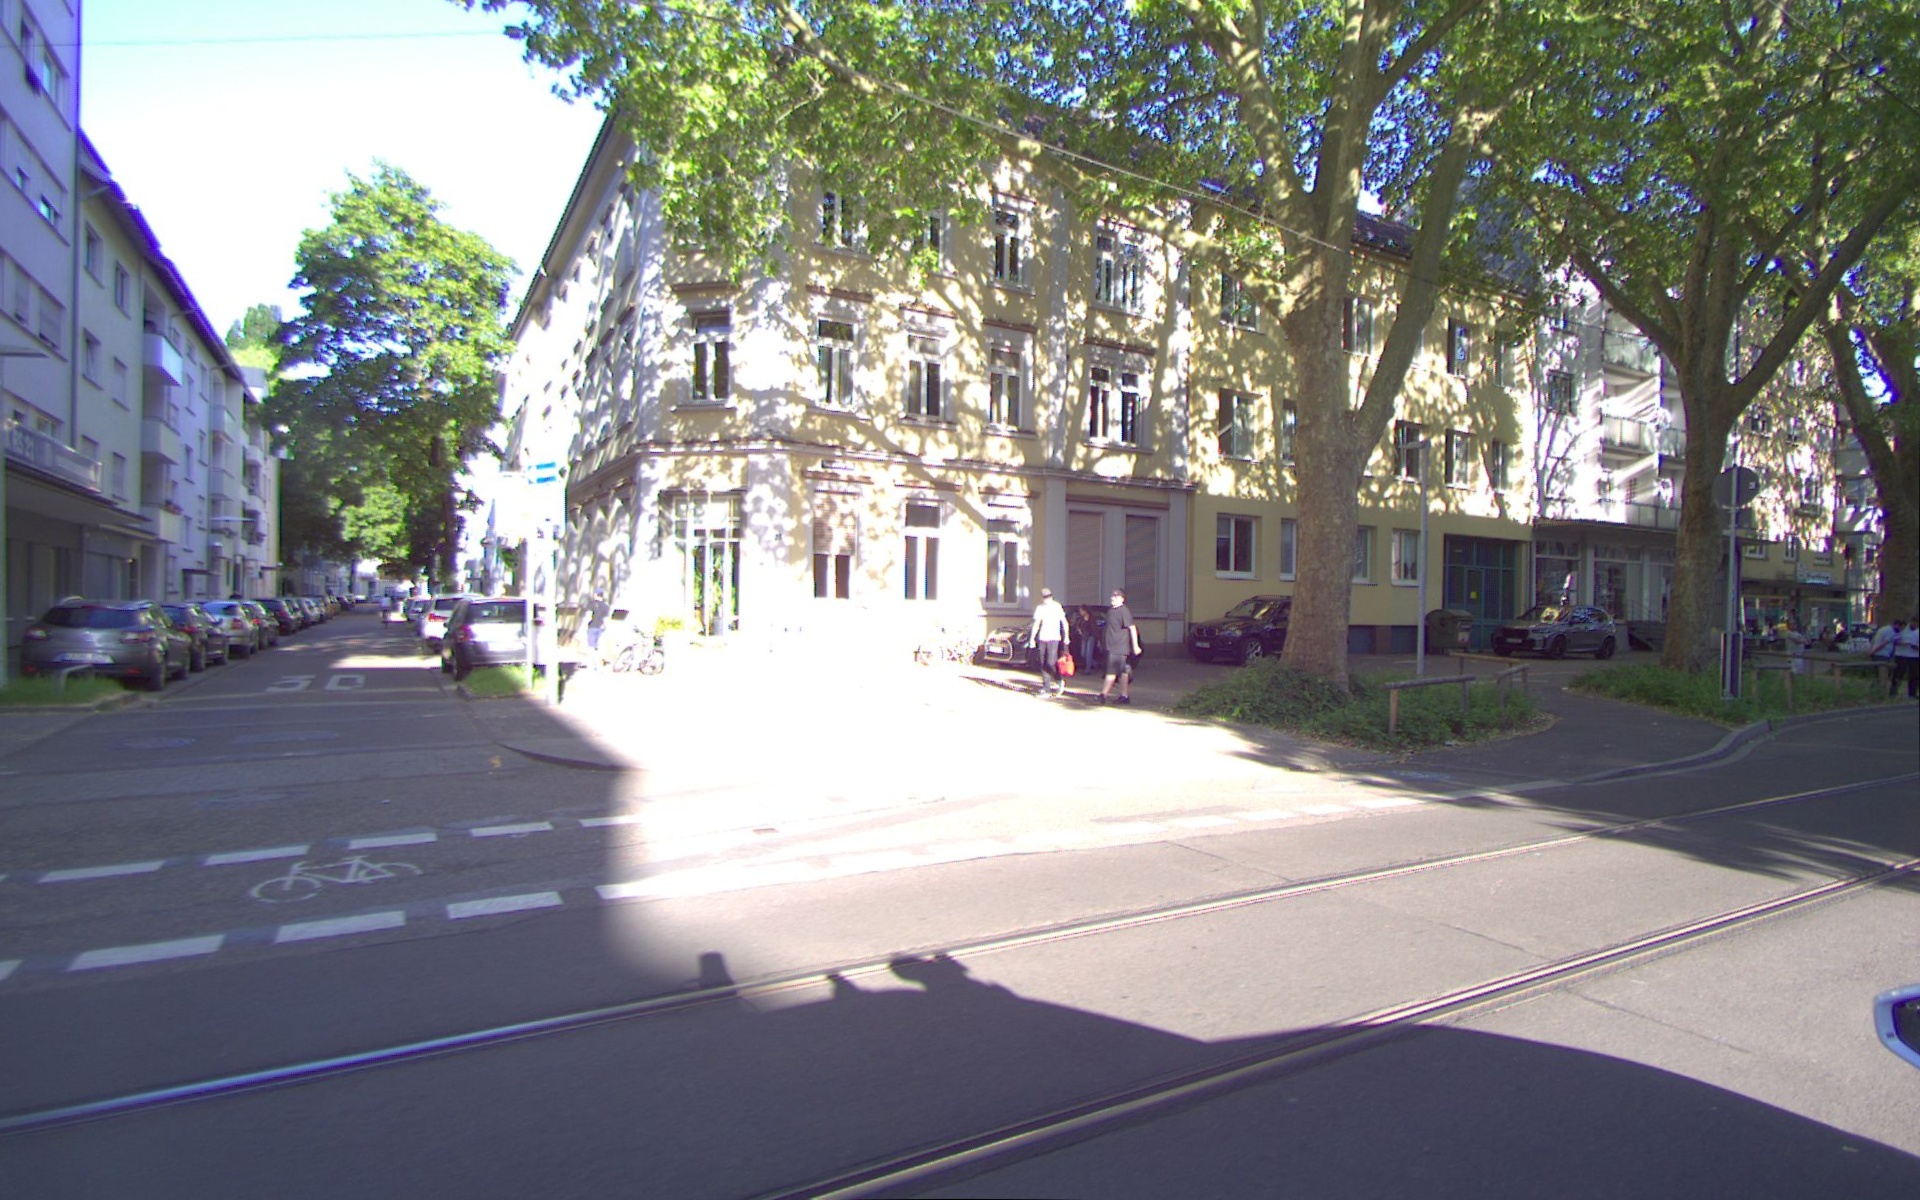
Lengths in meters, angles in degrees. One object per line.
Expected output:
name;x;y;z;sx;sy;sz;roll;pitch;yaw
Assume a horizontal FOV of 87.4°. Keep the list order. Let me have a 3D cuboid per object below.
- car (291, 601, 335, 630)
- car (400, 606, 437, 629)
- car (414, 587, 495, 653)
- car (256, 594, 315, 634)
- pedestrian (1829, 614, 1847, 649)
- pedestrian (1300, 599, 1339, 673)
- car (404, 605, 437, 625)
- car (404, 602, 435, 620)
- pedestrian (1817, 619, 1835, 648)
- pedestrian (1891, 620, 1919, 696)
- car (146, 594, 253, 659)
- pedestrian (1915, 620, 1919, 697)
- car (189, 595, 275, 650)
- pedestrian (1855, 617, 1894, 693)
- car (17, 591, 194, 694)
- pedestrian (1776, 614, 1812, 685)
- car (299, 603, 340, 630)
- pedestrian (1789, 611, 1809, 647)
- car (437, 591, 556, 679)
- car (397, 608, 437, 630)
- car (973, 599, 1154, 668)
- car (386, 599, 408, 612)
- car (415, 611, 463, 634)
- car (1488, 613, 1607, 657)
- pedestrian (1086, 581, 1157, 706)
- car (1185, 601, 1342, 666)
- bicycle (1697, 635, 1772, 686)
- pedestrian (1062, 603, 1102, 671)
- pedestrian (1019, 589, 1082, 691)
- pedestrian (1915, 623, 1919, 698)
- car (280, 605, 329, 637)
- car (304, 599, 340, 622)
car;-33.584;0.804;52.205;1.800;1.438;3.966;1;-1;-31
car;-28.386;0.895;52.584;1.628;1.109;3.389;1;-1;-30
car;-15.024;0.565;29.740;1.864;1.793;3.967;1;0;-31
car;-26.099;0.537;38.932;1.802;1.451;3.963;1;-1;-33
pedestrian;40.778;1.478;46.636;0.521;1.604;0.504;1;0;-33
pedestrian;8.261;0.813;23.097;0.641;1.674;0.550;1;0;-27
car;-31.342;0.857;58.299;1.628;1.109;3.389;1;-1;-30
car;-34.191;0.690;63.484;1.628;1.109;3.389;1;-1;-30
pedestrian;41.011;1.595;47.574;0.521;1.351;0.504;1;0;-33
pedestrian;20.213;1.225;21.463;0.503;1.604;0.344;1;0;-32
car;-18.550;0.610;24.660;1.802;1.471;3.963;1;-1;-33
pedestrian;20.384;1.225;20.974;0.521;1.604;0.504;1;0;-31
car;-20.992;0.623;29.097;1.802;1.471;3.963;1;-1;-33
pedestrian;19.765;1.170;21.705;0.521;1.604;0.503;1;0;-34
car;-14.523;0.653;17.294;1.802;1.555;3.963;1;-1;-33
pedestrian;19.456;1.144;23.432;0.521;1.604;0.504;1;0;-33
car;-36.510;0.931;57.292;1.800;1.438;3.967;1;-1;-30
pedestrian;37.685;1.292;45.108;0.568;1.604;0.549;1;0;-34
car;-9.765;0.654;21.022;1.975;1.606;3.631;-2;1;-29
car;-26.585;0.911;49.162;1.628;1.028;3.389;1;-1;-30
car;2.423;0.754;23.241;3.952;1.483;1.674;1;0;-30
car;-49.320;0.497;88.037;1.628;1.109;3.389;1;-1;-30
car;-21.671;0.913;41.733;1.628;0.894;3.389;1;-1;-30
car;19.073;1.123;32.567;3.783;1.293;1.687;1;1;-31
pedestrian;2.519;0.659;15.700;0.638;1.894;0.899;1;0;-35
car;7.946;0.860;26.250;3.952;1.537;1.674;1;1;-30
bicycle;18.623;1.435;24.194;0.444;1.076;1.696;2;1;0
pedestrian;2.633;0.792;21.698;0.641;1.421;0.550;1;0;-27
pedestrian;1.508;0.660;16.814;0.638;1.654;0.841;1;0;-36
pedestrian;20.948;1.298;21.453;0.551;1.604;0.680;1;0;-32
car;-31.182;0.986;47.868;1.800;1.438;3.966;1;-1;-31
car;-41.210;0.651;64.963;1.800;1.438;3.967;1;-1;-30
